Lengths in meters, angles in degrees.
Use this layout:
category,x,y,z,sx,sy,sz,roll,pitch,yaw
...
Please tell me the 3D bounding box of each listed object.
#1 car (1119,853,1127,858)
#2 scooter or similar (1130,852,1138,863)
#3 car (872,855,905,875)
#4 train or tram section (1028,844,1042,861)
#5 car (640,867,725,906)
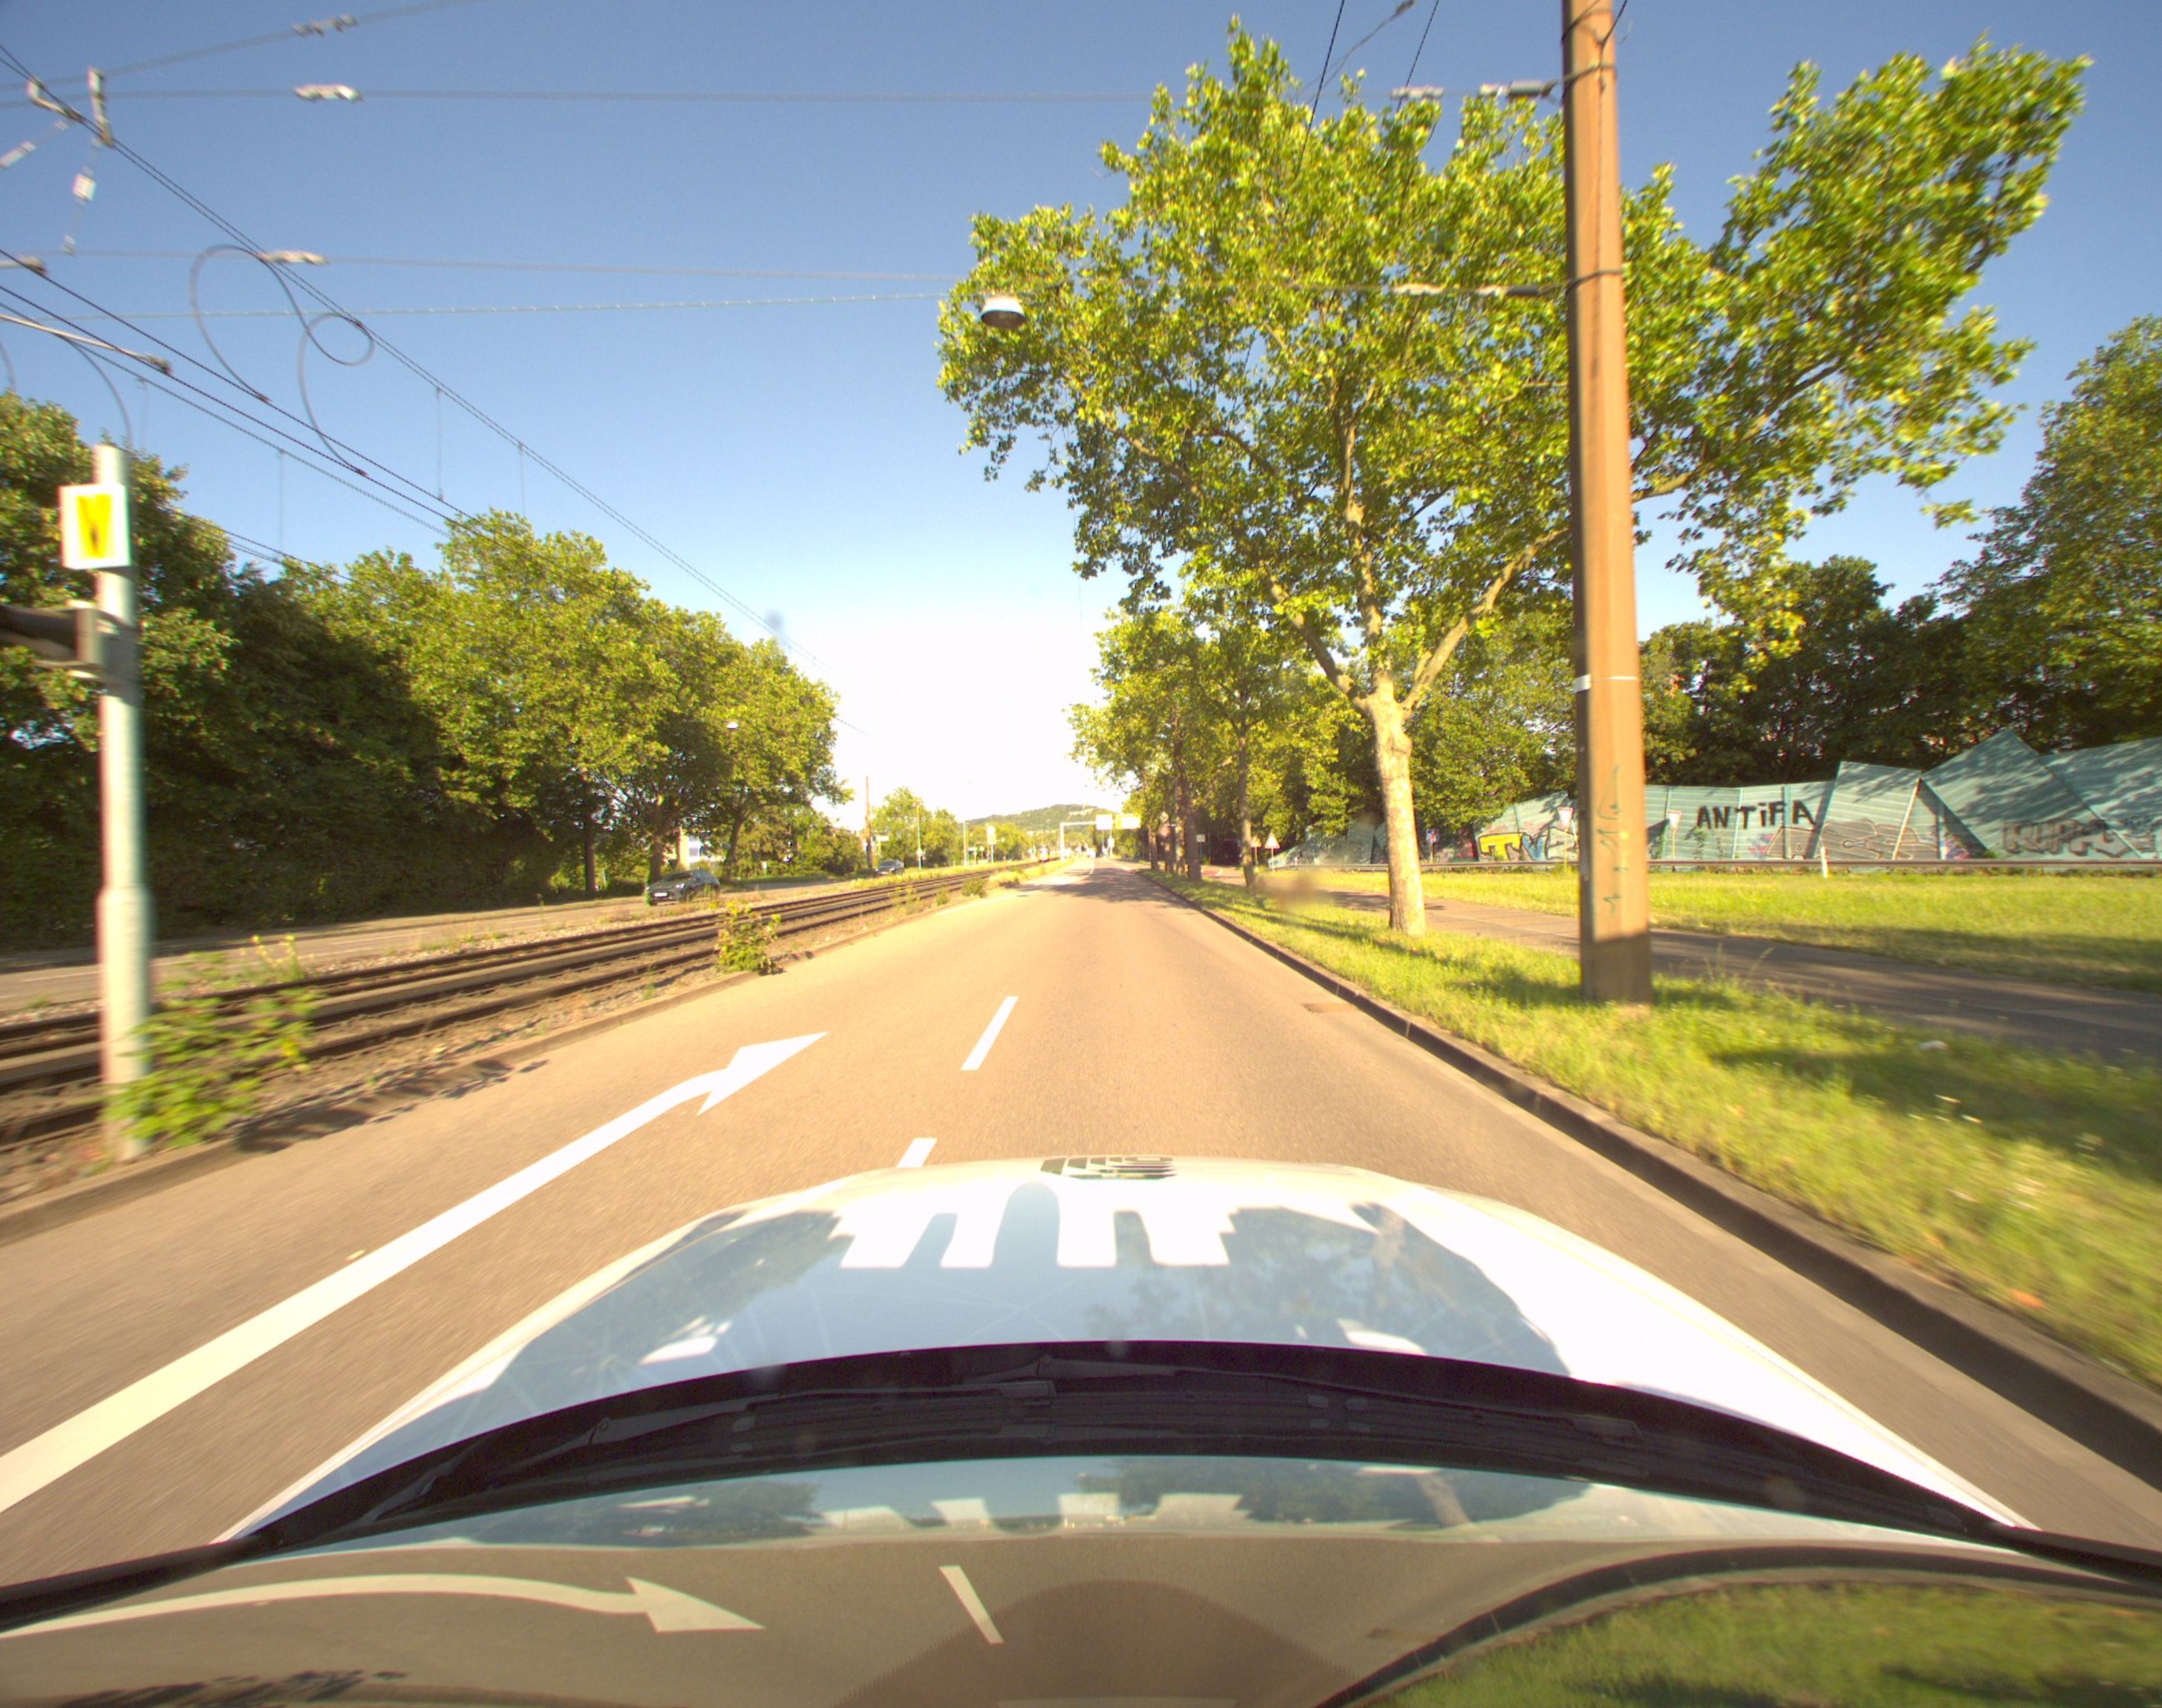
category,x,y,z,sx,sy,sz,roll,pitch,yaw
car,13.262,0.607,256.109,2.075,1.566,3.962,-1,0,7
scooter or similar,13.244,0.905,202.077,1.675,2.715,4.870,-1,0,1
car,-18.426,1.048,78.181,1.893,1.694,4.939,-4,0,-1
train or tram section,-11.175,-0.395,198.998,2.795,3.902,12.330,-1,0,0
car,-18.010,1.418,37.047,1.706,1.468,4.346,-4,0,-1
